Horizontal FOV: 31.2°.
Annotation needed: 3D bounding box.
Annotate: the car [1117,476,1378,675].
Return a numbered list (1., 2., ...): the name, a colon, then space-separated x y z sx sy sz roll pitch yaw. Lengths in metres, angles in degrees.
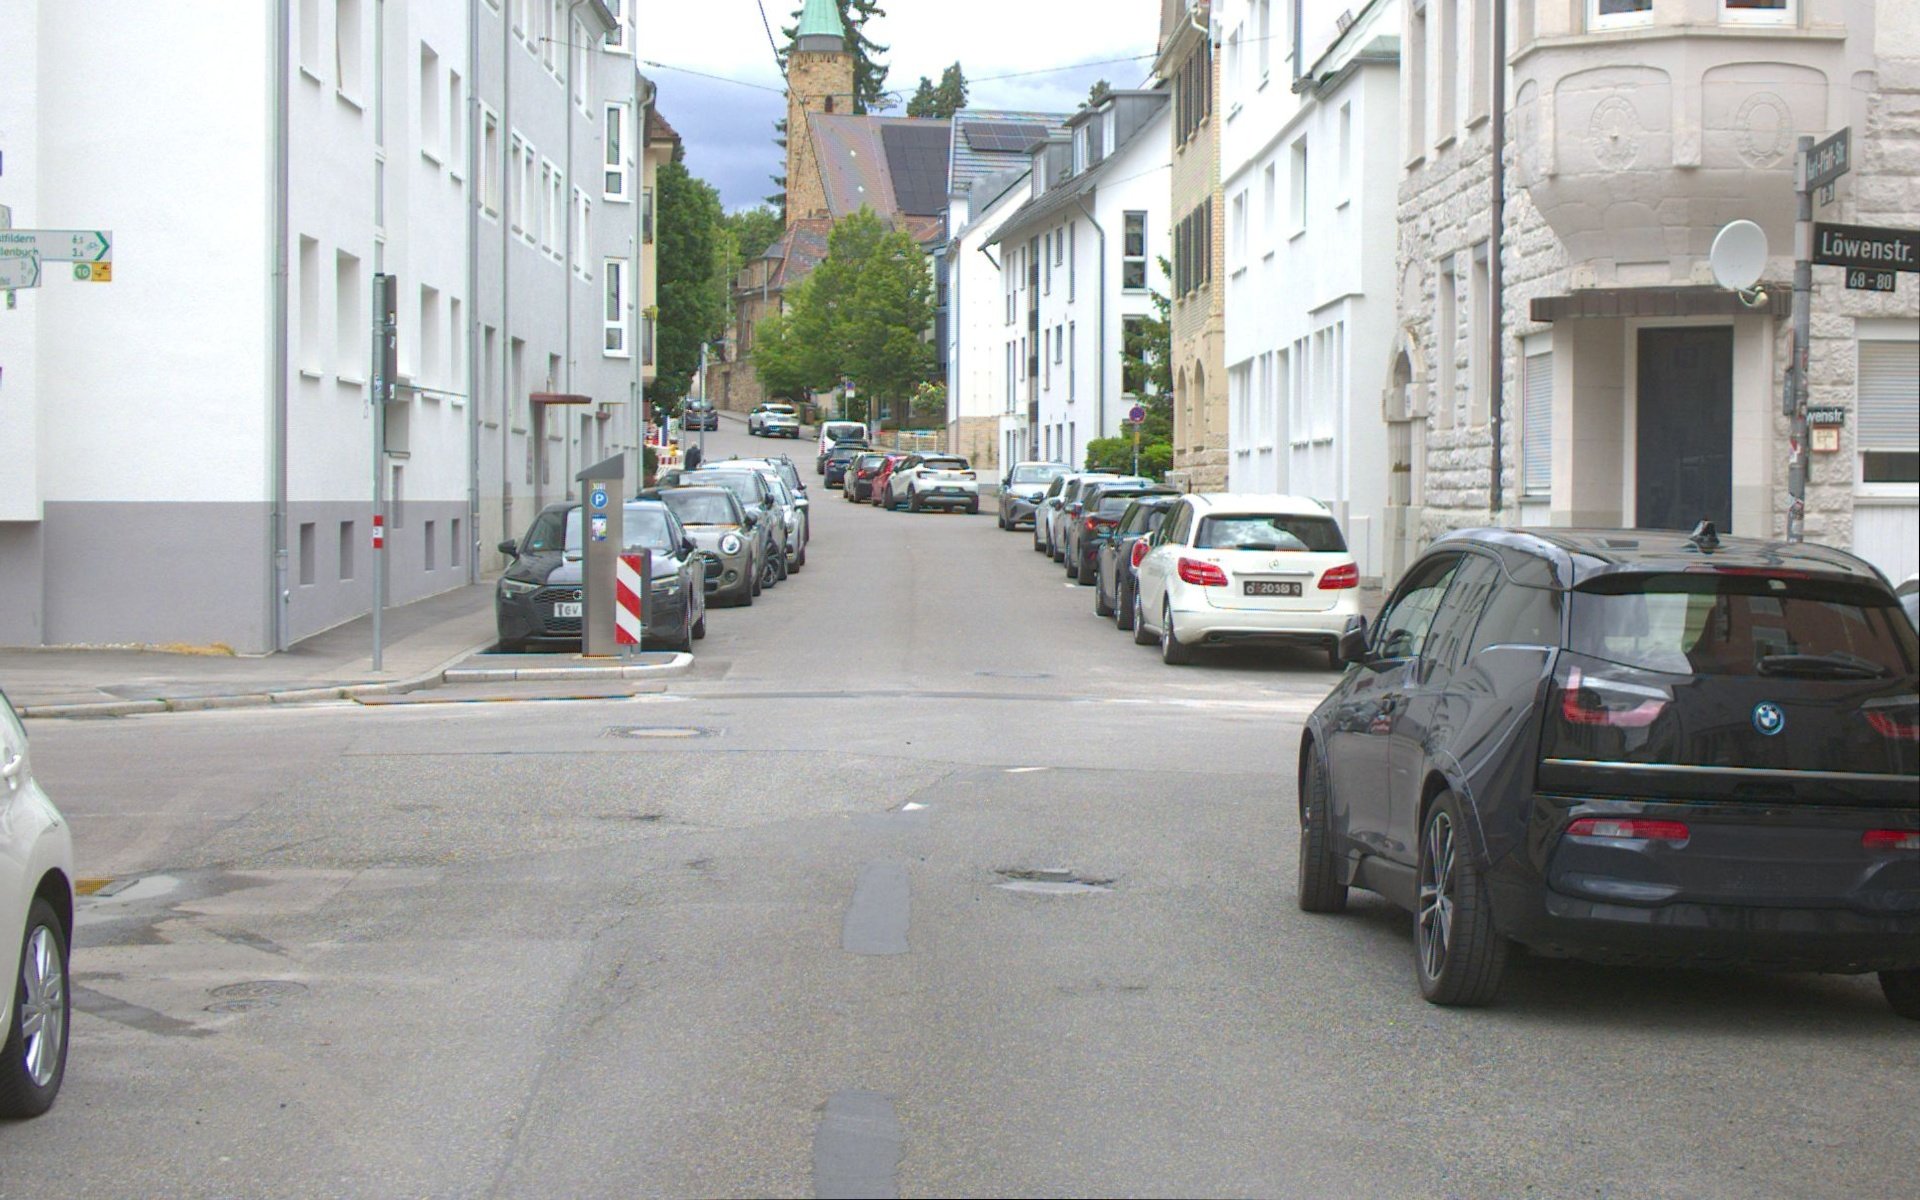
1. car: 2.633 -0.287 32.420 1.820 1.593 4.029 2 3 -4

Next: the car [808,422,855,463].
1. car: -4.882 -5.947 129.846 1.667 1.474 3.627 1 3 -4

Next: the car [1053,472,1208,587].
1. car: 2.332 -1.013 47.898 1.667 1.380 4.029 2 3 -4

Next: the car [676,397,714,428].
1. car: -13.425 -9.508 174.144 1.667 1.474 3.627 1 3 -9

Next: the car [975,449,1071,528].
1. car: 1.294 -2.353 71.928 1.667 1.474 3.627 2 3 -4

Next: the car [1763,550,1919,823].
1. car: 6.773 0.529 20.129 3.613 1.474 1.674 2 2 -8

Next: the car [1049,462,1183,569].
1. car: 2.418 -1.355 54.011 1.667 1.474 3.627 2 3 -4

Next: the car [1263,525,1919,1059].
1. car: 2.318 0.541 12.289 1.817 1.538 4.028 2 1 -4

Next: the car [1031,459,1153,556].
1. car: 2.218 -1.597 58.630 1.667 1.474 3.627 2 3 -4

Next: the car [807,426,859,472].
1. car: -4.362 -5.207 118.128 1.667 1.474 3.627 1 3 -4

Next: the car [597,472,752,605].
1. car: -3.430 -0.787 41.900 1.730 1.484 3.720 0 3 -3

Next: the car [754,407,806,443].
1. car: -8.828 -8.576 168.620 2.181 1.687 3.627 1 3 -9

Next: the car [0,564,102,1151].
1. car: -3.164 0.643 7.489 1.666 1.429 3.816 -1 1 -1

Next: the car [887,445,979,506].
1. car: -0.730 -3.280 90.226 1.783 1.474 3.628 0 3 -11

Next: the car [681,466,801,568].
1. car: -3.294 -1.284 52.203 1.730 1.443 3.720 0 3 -3

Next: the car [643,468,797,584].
1. car: -3.226 -1.041 46.780 1.730 1.464 3.720 0 3 1

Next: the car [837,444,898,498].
1. car: -2.741 -3.815 101.268 1.667 1.474 3.627 1 3 -4

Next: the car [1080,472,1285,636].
1. car: 2.367 -0.547 37.507 1.667 1.527 4.029 2 3 -4

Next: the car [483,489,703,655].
1. car: -3.432 -0.320 32.827 1.820 1.386 4.299 0 3 -3
